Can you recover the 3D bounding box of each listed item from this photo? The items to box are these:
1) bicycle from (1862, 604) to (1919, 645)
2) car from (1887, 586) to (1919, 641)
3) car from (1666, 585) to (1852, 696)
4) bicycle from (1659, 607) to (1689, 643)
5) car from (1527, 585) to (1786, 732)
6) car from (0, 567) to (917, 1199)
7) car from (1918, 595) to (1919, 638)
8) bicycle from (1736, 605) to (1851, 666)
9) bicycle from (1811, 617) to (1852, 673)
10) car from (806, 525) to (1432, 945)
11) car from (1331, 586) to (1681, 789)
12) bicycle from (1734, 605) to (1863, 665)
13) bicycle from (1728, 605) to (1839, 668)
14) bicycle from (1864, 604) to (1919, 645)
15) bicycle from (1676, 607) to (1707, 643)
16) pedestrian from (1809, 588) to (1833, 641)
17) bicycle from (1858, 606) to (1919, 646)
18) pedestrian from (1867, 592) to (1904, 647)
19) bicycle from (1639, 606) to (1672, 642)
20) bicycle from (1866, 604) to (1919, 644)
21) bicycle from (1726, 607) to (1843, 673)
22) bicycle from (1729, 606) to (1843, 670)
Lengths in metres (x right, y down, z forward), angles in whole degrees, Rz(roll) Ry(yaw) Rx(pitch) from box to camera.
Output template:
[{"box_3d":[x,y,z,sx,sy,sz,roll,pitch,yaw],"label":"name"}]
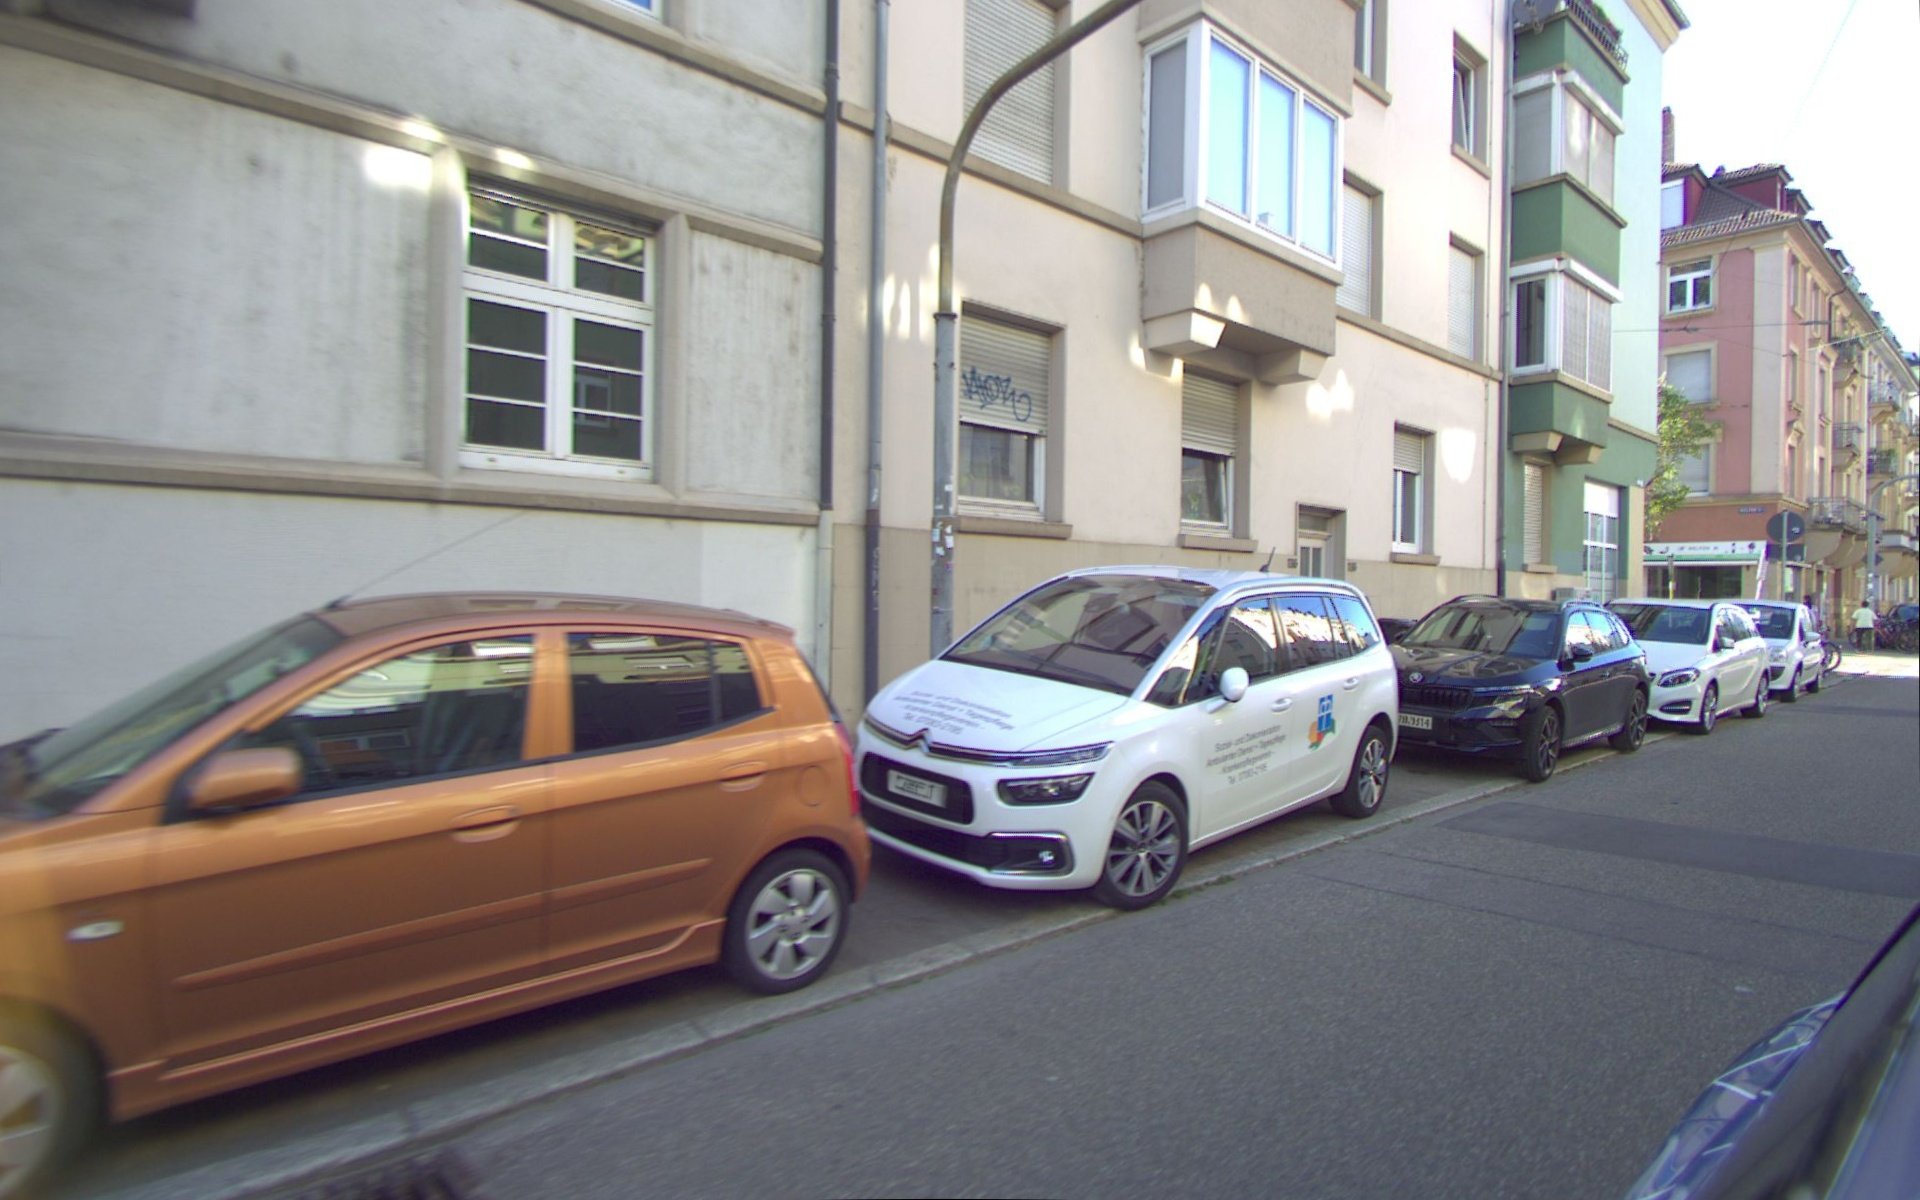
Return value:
[{"box_3d":[30.165,0.793,32.315,0.518,1.242,1.963,1,2,-40],"label":"bicycle"},{"box_3d":[33.573,0.478,34.933,4.427,1.756,1.757,0,4,-41],"label":"car"},{"box_3d":[13.664,0.606,17.246,3.930,1.652,1.787,0,1,-41],"label":"car"},{"box_3d":[24.037,0.821,34.057,1.698,1.169,0.468,1,0,-42],"label":"bicycle"},{"box_3d":[9.194,0.639,13.227,4.250,1.596,1.787,0,1,-41],"label":"car"},{"box_3d":[-2.043,0.696,3.638,3.537,1.580,1.617,0,1,-41],"label":"car"},{"box_3d":[38.508,0.656,39.114,3.663,1.614,1.757,0,0,-40],"label":"car"},{"box_3d":[18.496,0.770,22.496,0.461,1.168,1.847,1,4,-40],"label":"bicycle"},{"box_3d":[17.463,0.888,20.270,1.697,1.058,0.353,1,0,-40],"label":"bicycle"},{"box_3d":[1.340,0.553,6.494,1.655,1.774,4.529,1,1,44],"label":"car"},{"box_3d":[5.550,0.684,10.042,4.262,1.586,1.658,0,1,-41],"label":"car"},{"box_3d":[18.984,0.759,22.959,0.833,1.168,2.091,1,3,-40],"label":"bicycle"},{"box_3d":[17.606,0.764,21.665,0.461,1.168,1.727,1,4,-40],"label":"bicycle"},{"box_3d":[30.565,0.792,32.695,0.518,1.242,1.963,1,2,-40],"label":"bicycle"},{"box_3d":[24.356,0.827,33.674,1.698,1.169,0.468,1,0,-42],"label":"bicycle"},{"box_3d":[27.959,0.458,32.859,0.440,1.708,0.514,1,0,-41],"label":"pedestrian"},{"box_3d":[29.715,0.825,31.965,0.518,1.175,1.927,1,2,-40],"label":"bicycle"},{"box_3d":[28.457,0.587,31.120,0.691,1.654,0.730,-1,-1,-41],"label":"pedestrian"},{"box_3d":[23.692,0.802,34.465,1.698,1.169,0.544,1,0,-42],"label":"bicycle"},{"box_3d":[30.982,0.791,33.073,0.518,1.242,1.963,1,2,-40],"label":"bicycle"},{"box_3d":[16.837,0.789,20.705,0.461,1.168,1.727,1,4,-40],"label":"bicycle"},{"box_3d":[17.287,0.771,21.209,0.461,1.168,1.727,1,4,-40],"label":"bicycle"}]
